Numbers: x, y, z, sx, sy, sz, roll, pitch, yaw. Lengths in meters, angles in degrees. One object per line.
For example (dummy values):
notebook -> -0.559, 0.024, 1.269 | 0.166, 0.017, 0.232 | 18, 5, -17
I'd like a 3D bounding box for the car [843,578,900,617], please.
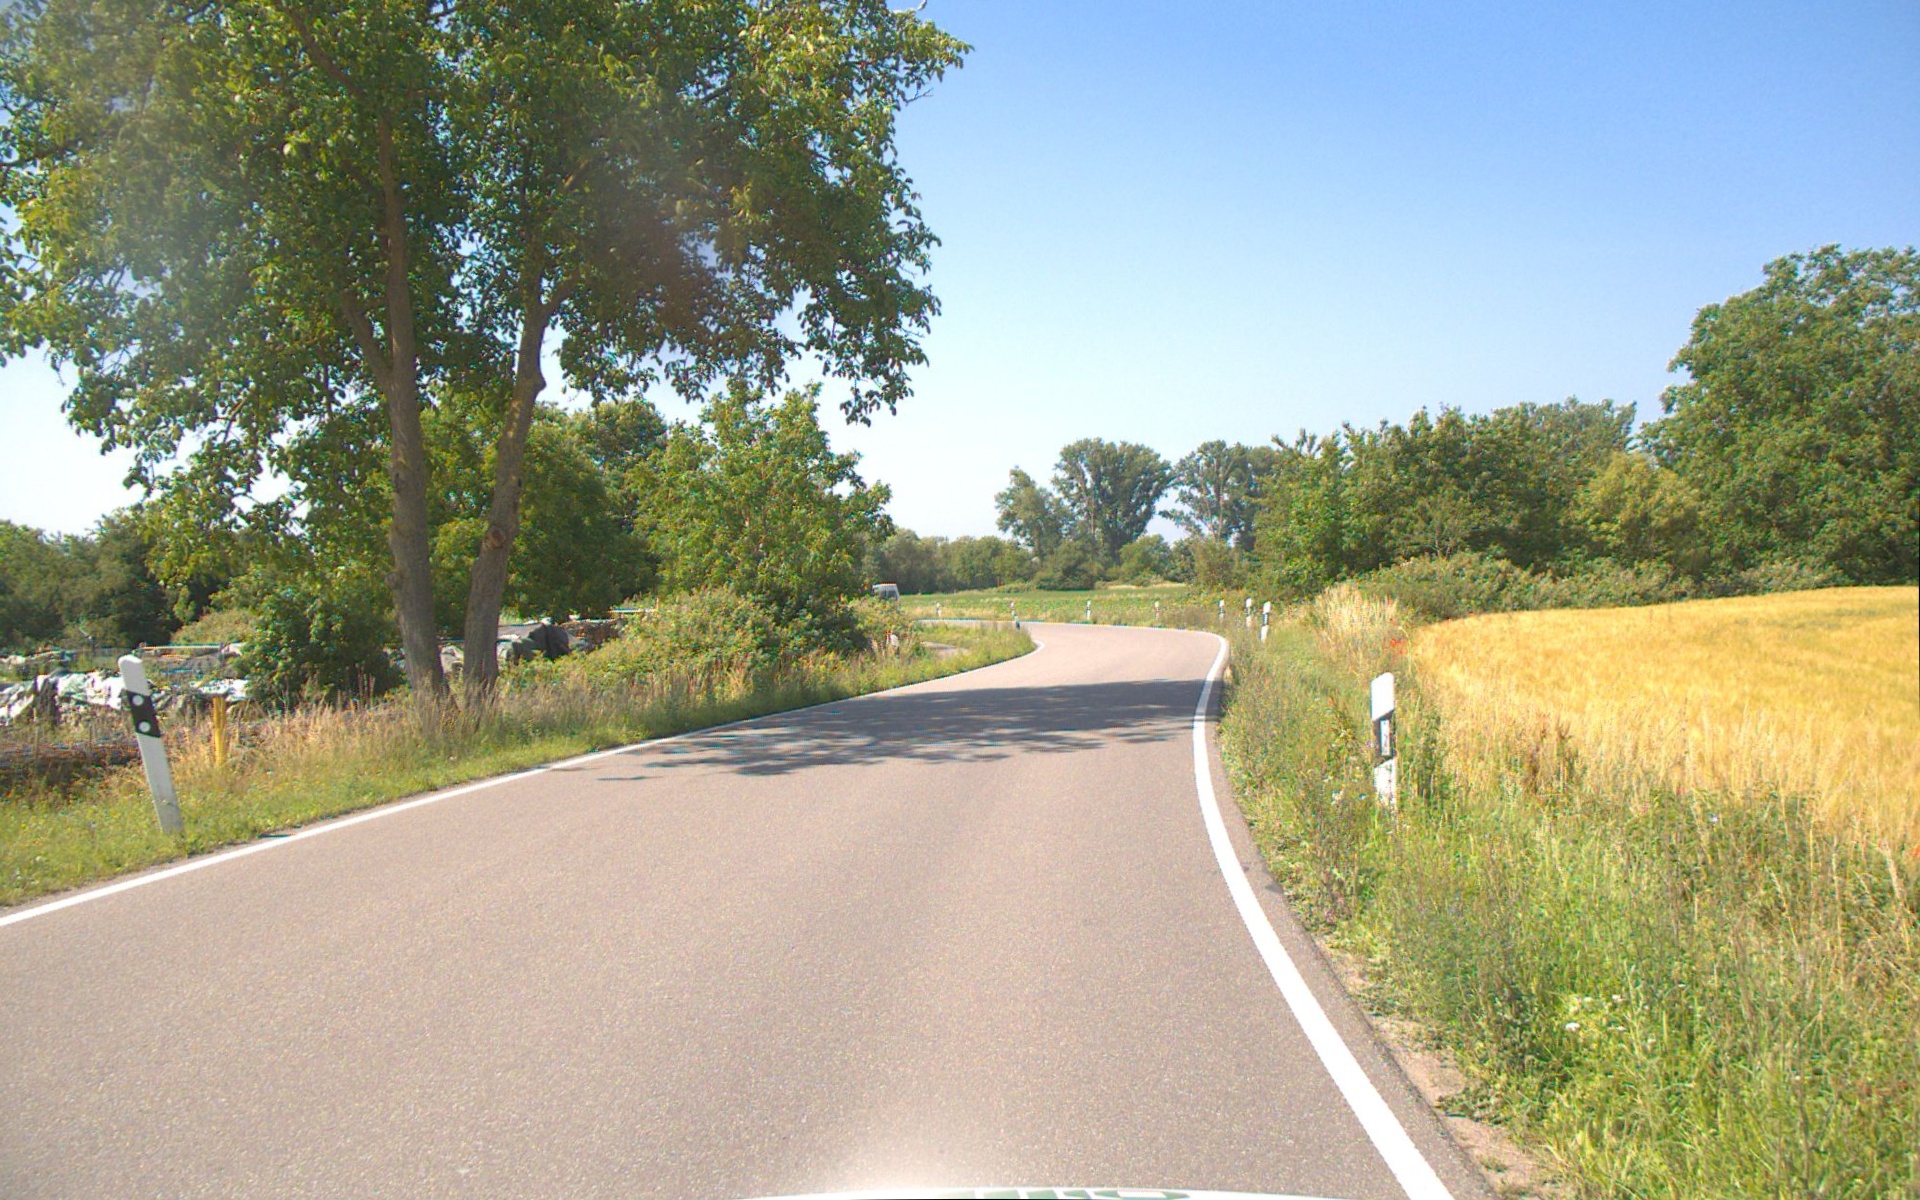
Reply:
car -> -5.933, -0.183, 110.328 | 2.074, 2.408, 5.650 | -2, 1, -21
